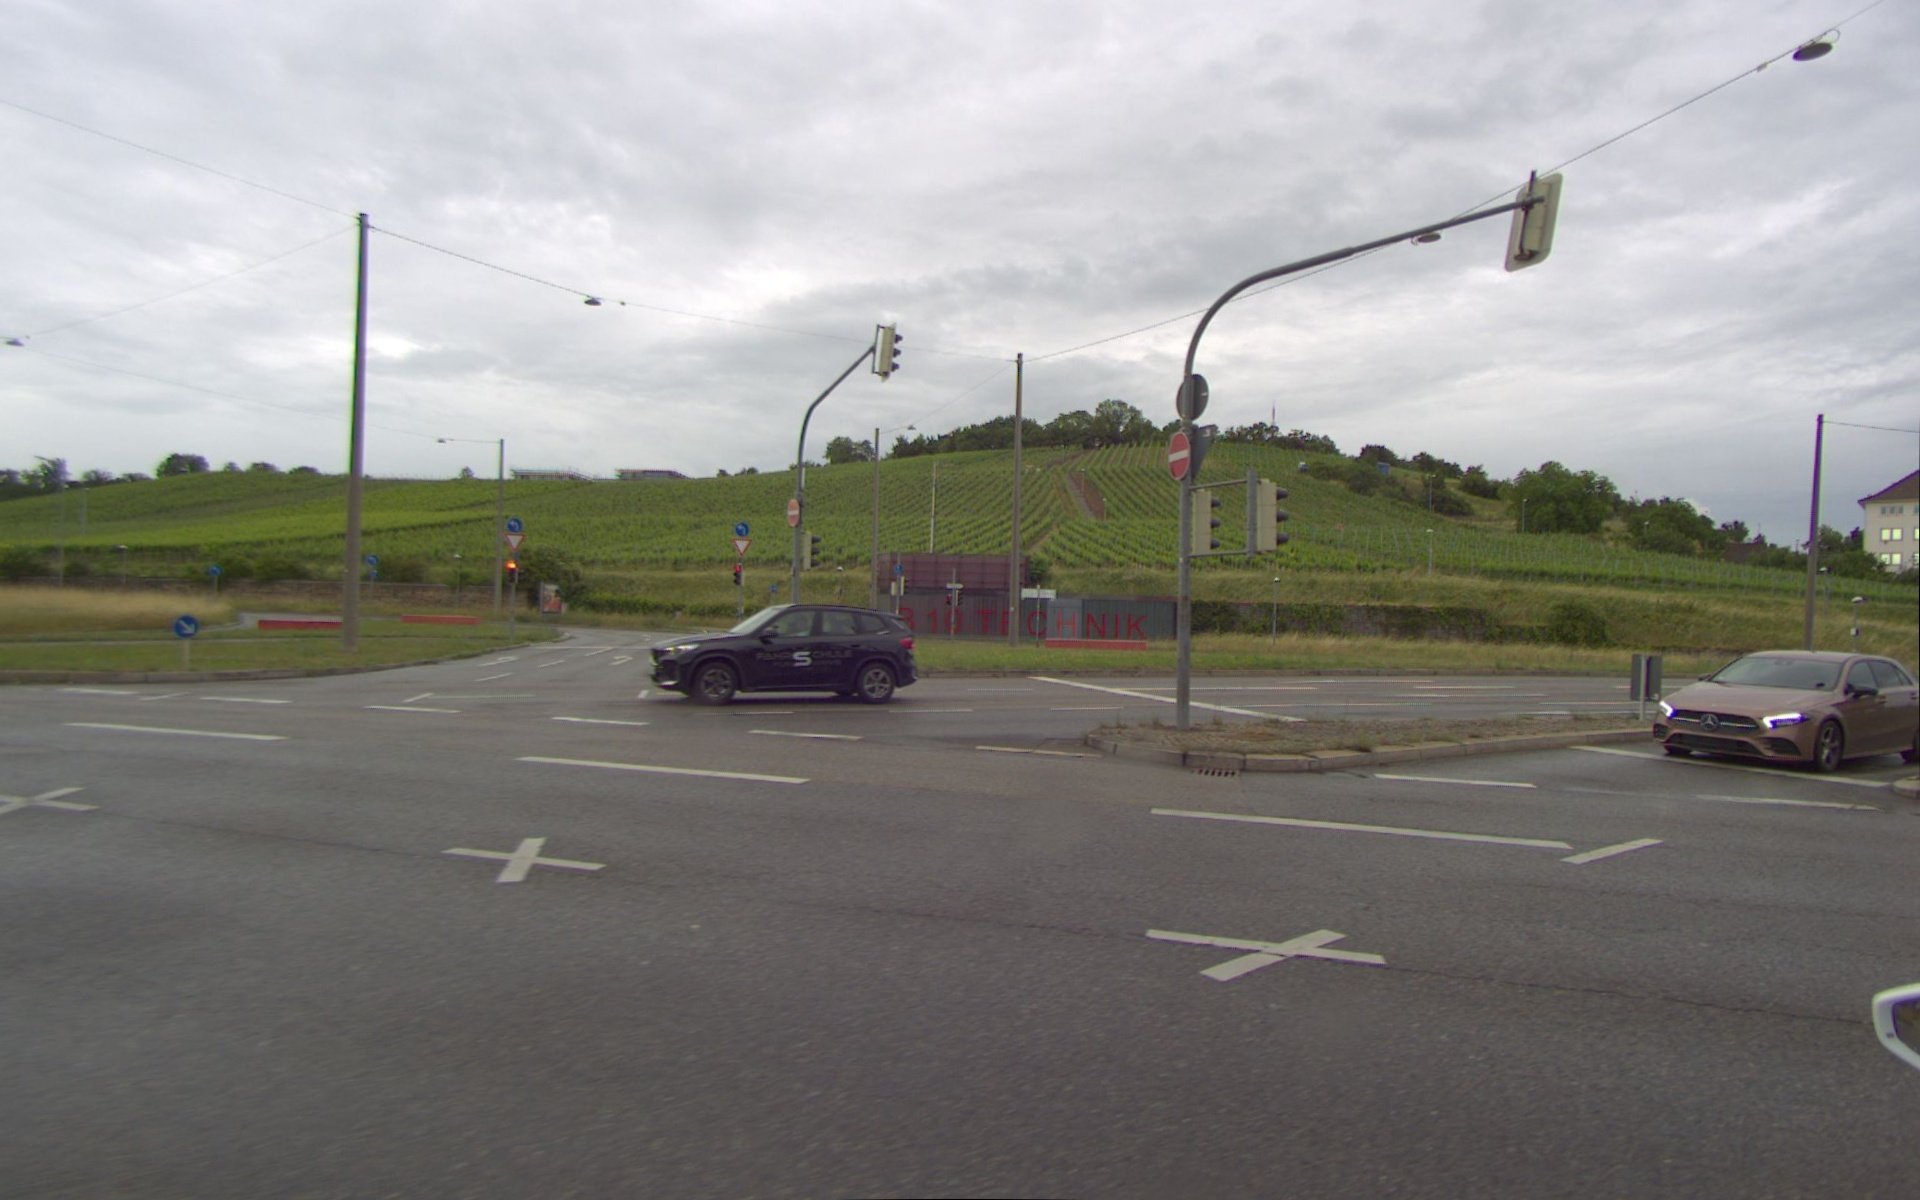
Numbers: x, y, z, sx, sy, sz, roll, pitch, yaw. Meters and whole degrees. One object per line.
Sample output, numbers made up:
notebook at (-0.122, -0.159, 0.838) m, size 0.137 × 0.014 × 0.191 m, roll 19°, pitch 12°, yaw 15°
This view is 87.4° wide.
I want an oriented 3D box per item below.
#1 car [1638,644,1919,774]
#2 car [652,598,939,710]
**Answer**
car at (11.165, 1.363, 13.342) m, size 4.319 × 1.444 × 1.769 m, roll 2°, pitch -1°, yaw -28°
car at (-2.755, 0.903, 16.875) m, size 4.445 × 1.658 × 1.771 m, roll 2°, pitch 1°, yaw -23°
